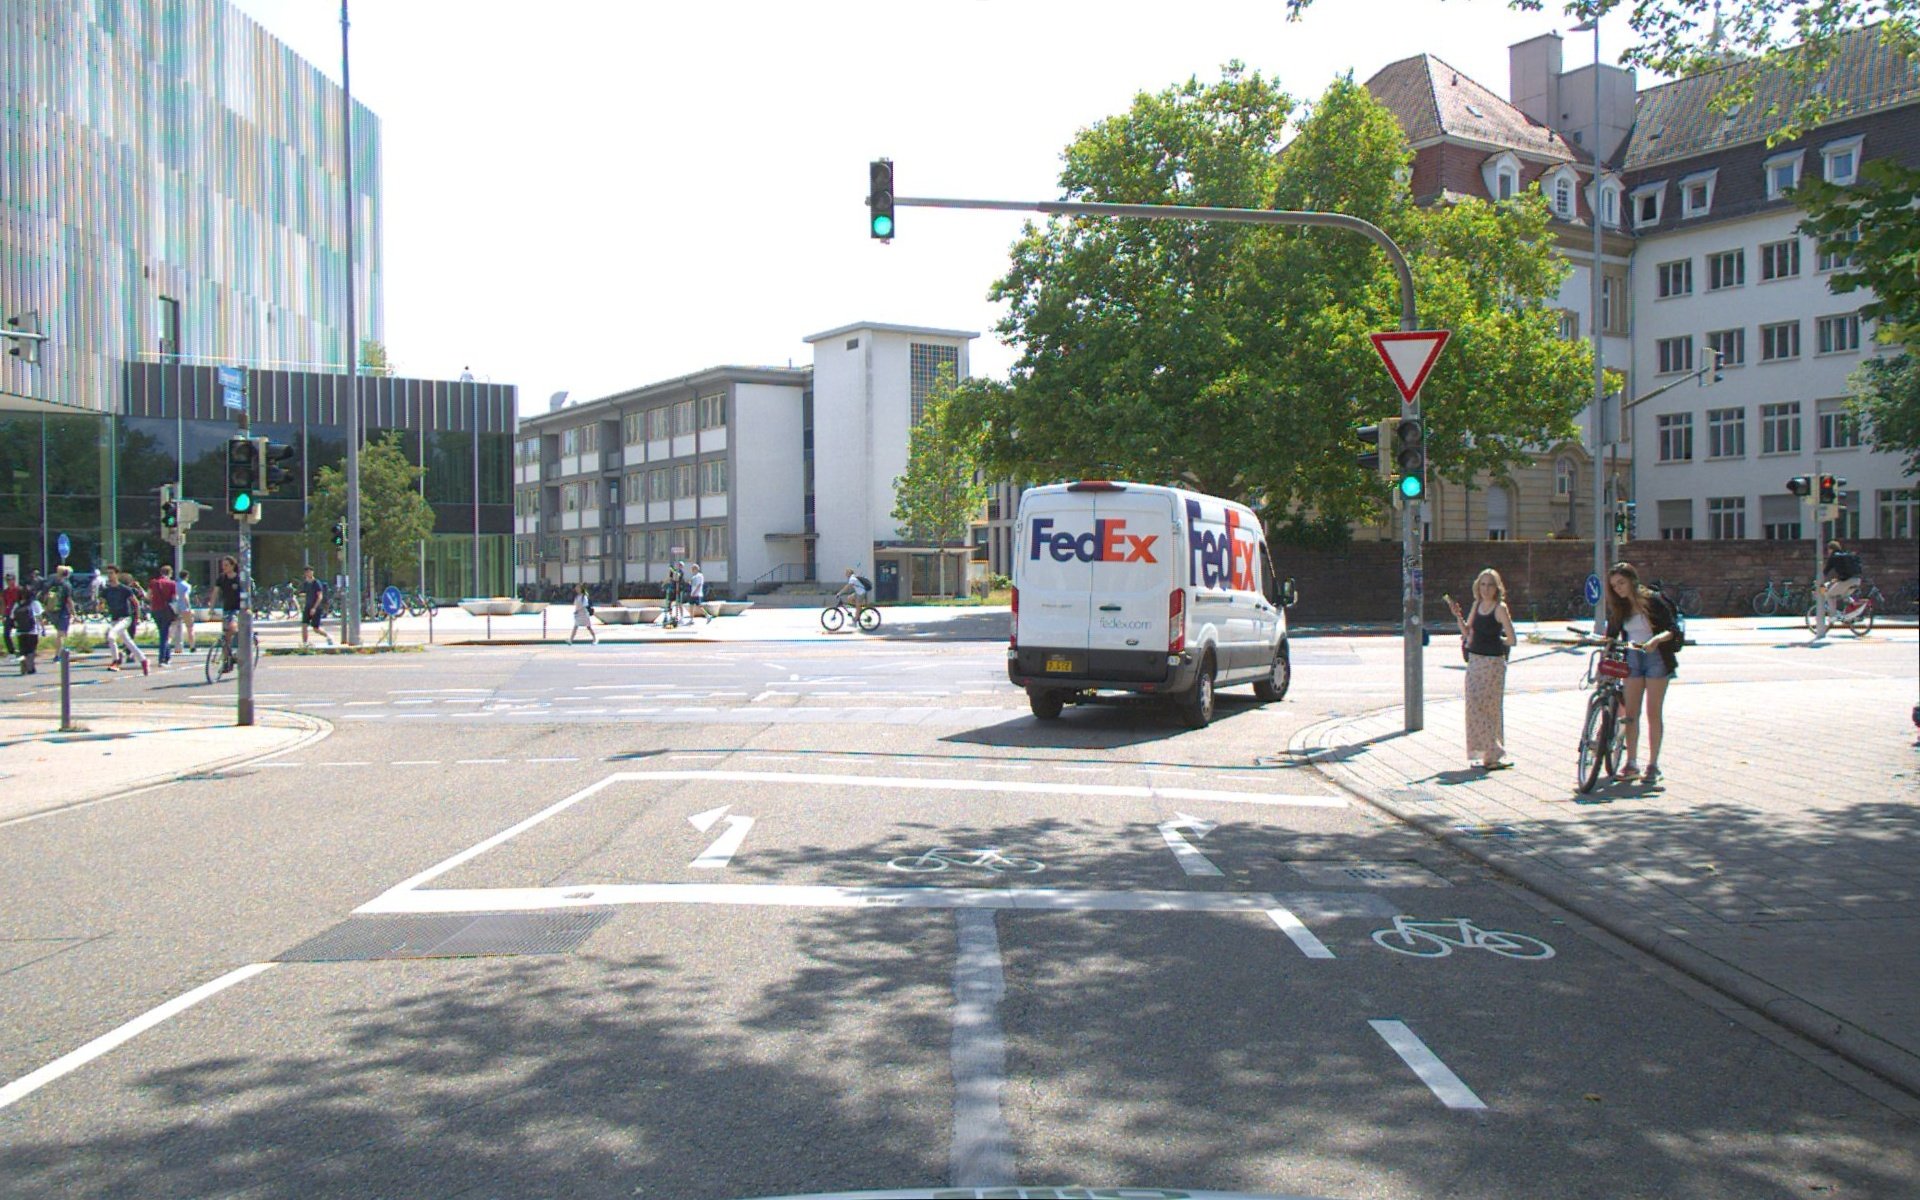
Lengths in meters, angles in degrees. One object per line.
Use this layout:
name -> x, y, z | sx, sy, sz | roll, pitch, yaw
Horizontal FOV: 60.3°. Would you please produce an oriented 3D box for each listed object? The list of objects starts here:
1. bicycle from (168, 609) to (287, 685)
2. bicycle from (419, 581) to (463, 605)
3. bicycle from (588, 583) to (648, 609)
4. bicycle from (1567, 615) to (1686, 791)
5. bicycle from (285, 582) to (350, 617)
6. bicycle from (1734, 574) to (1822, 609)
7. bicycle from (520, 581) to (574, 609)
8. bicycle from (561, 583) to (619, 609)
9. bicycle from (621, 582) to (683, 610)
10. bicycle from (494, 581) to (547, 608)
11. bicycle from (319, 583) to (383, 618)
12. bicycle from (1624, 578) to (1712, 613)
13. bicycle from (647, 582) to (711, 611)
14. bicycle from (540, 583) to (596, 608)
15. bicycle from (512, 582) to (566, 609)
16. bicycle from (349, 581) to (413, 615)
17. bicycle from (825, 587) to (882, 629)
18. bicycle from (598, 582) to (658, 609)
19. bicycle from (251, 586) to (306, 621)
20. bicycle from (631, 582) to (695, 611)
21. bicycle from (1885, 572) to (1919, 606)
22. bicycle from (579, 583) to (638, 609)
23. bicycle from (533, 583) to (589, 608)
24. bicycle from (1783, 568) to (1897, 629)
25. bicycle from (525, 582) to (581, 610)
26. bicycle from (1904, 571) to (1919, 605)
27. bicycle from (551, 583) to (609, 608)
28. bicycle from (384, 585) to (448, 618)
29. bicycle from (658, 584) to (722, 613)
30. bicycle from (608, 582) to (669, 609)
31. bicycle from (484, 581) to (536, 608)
bicycle -> -11.945, 0.752, 27.035 | 0.754, 1.142, 2.028 | -1, 1, 10
bicycle -> -35.101, -0.446, 111.897 | 1.093, 1.602, 2.962 | 0, 0, 27
bicycle -> -18.019, -0.219, 87.096 | 2.934, 1.387, 1.102 | 0, 0, -38
bicycle -> 4.925, 0.724, 12.160 | 0.580, 1.146, 1.740 | -3, -1, 28
bicycle -> -23.904, -0.025, 61.527 | 1.192, 1.259, 2.902 | 0, 0, -45
bicycle -> 24.535, -0.266, 49.627 | 2.333, 1.011, 0.724 | -1, 1, -4
bicycle -> -24.134, -0.277, 96.677 | 2.934, 1.602, 1.102 | 0, 0, -38
bicycle -> -20.128, -0.233, 90.017 | 2.934, 1.387, 1.102 | 0, 0, -38
bicycle -> -15.620, -0.223, 83.822 | 2.934, 1.387, 1.102 | 0, 0, -38
bicycle -> -26.647, -0.324, 100.233 | 2.934, 1.602, 1.102 | 0, 0, -38
bicycle -> -23.014, 0.009, 62.442 | 1.192, 1.259, 2.902 | 0, 0, -45
bicycle -> 21.082, -0.142, 49.283 | 2.333, 1.011, 0.696 | -1, 1, -4
bicycle -> -13.839, -0.175, 81.543 | 2.934, 1.387, 1.102 | 0, 0, -38
bicycle -> -22.115, -0.270, 93.343 | 2.934, 1.387, 1.102 | 0, 0, -38
bicycle -> -25.059, -0.288, 98.424 | 2.934, 1.602, 1.102 | 0, 0, -38
bicycle -> -22.136, -0.083, 63.163 | 1.192, 1.259, 2.902 | 0, 0, -45
bicycle -> -3.021, 0.216, 47.226 | 0.830, 1.165, 1.995 | -1, 1, 23
bicycle -> -17.268, -0.241, 86.042 | 2.934, 1.387, 1.102 | 0, 0, -38
bicycle -> -25.119, 0.128, 60.929 | 1.188, 1.259, 2.913 | 0, 0, -37
bicycle -> -14.863, -0.184, 82.807 | 2.934, 1.387, 1.259 | 0, 0, -38
bicycle -> 29.425, -0.351, 50.159 | 2.333, 1.011, 0.753 | -1, 1, -4
bicycle -> -18.731, -0.220, 88.119 | 2.934, 1.387, 1.102 | 0, 0, -38
bicycle -> -22.800, -0.277, 94.523 | 2.934, 1.387, 1.102 | 0, 0, -38
bicycle -> 17.958, -0.031, 33.781 | 0.674, 1.205, 1.964 | -1, 1, -35
bicycle -> -23.528, -0.234, 95.632 | 2.934, 1.602, 1.102 | 0, 0, -38
bicycle -> 29.999, -0.376, 50.205 | 2.333, 1.011, 0.724 | -1, 1, -4
bicycle -> -21.005, -0.243, 91.501 | 2.934, 1.387, 1.102 | 0, 0, -38
bicycle -> -21.057, 0.049, 63.954 | 1.192, 1.259, 2.902 | 0, 0, -45
bicycle -> -13.116, -0.061, 80.443 | 2.934, 1.387, 1.102 | 0, 0, -38
bicycle -> -16.496, -0.236, 84.985 | 2.934, 1.387, 1.102 | 0, 0, -38
bicycle -> -27.649, -0.346, 101.664 | 2.934, 1.602, 1.102 | 0, 0, -38
